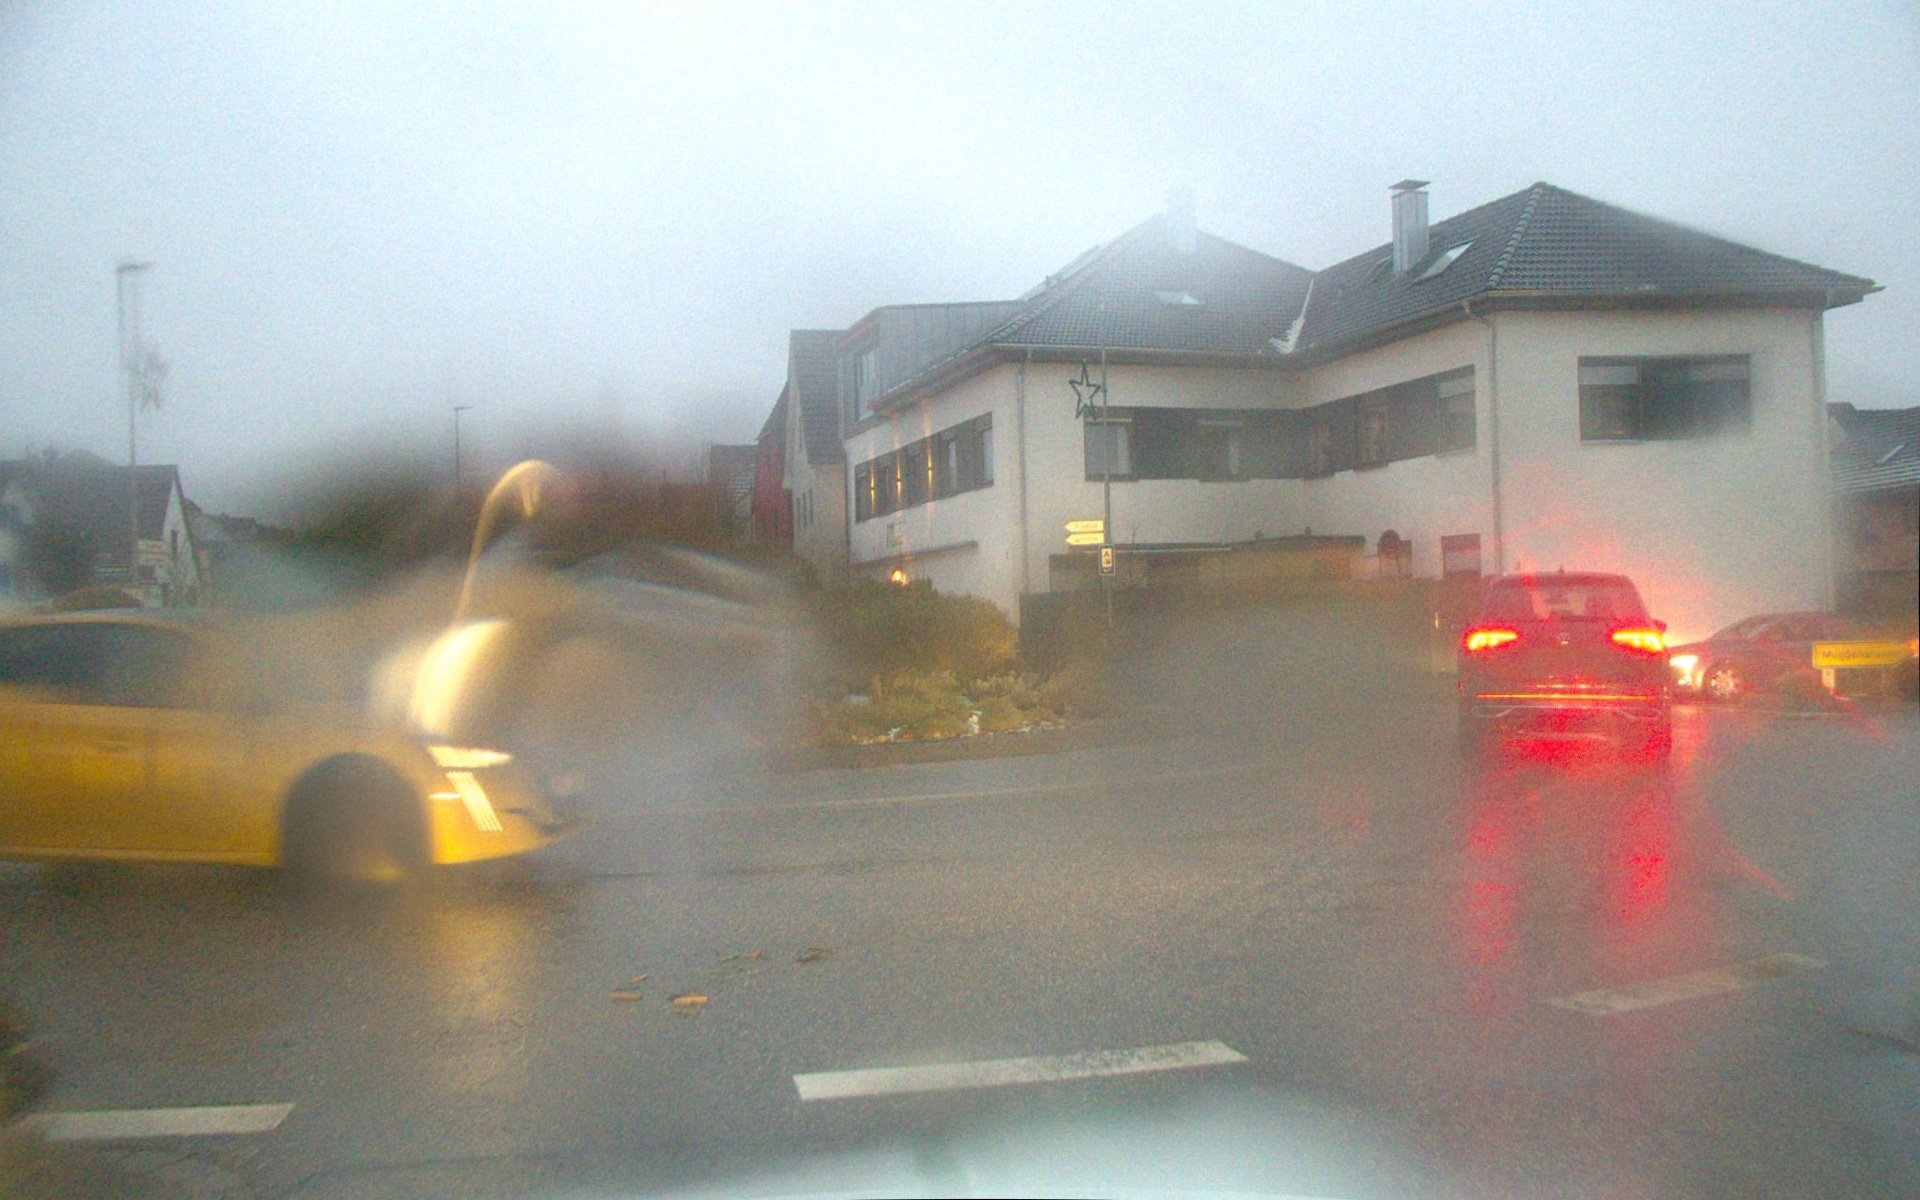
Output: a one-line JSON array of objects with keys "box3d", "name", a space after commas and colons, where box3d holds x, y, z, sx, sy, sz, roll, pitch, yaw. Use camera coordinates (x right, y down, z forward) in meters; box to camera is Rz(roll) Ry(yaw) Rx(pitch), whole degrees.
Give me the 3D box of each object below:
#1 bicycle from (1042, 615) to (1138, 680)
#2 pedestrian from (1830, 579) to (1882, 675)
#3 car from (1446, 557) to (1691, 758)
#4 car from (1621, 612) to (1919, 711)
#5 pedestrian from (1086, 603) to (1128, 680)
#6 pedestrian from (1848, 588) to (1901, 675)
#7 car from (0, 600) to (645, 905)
[{"box3d": [2.695, 0.993, 34.397, 1.897, 1.318, 0.551, -1, 1, 25], "name": "bicycle"}, {"box3d": [17.763, 0.522, 32.787, 0.700, 1.864, 0.638, -1, 1, 6], "name": "pedestrian"}, {"box3d": [5.613, 0.481, 15.688, 1.875, 1.643, 3.953, -1, 0, 16], "name": "car"}, {"box3d": [12.823, 0.975, 25.951, 4.134, 1.408, 1.850, -1, -3, 0], "name": "car"}, {"box3d": [3.081, 0.869, 34.725, 0.676, 1.592, 0.610, -1, 0, 25], "name": "pedestrian"}, {"box3d": [17.632, 0.604, 31.889, 0.700, 1.649, 0.583, -1, 0, 6], "name": "pedestrian"}, {"box3d": [-3.893, 0.757, 8.978, 3.914, 1.446, 1.717, -1, 0, 9], "name": "car"}]
